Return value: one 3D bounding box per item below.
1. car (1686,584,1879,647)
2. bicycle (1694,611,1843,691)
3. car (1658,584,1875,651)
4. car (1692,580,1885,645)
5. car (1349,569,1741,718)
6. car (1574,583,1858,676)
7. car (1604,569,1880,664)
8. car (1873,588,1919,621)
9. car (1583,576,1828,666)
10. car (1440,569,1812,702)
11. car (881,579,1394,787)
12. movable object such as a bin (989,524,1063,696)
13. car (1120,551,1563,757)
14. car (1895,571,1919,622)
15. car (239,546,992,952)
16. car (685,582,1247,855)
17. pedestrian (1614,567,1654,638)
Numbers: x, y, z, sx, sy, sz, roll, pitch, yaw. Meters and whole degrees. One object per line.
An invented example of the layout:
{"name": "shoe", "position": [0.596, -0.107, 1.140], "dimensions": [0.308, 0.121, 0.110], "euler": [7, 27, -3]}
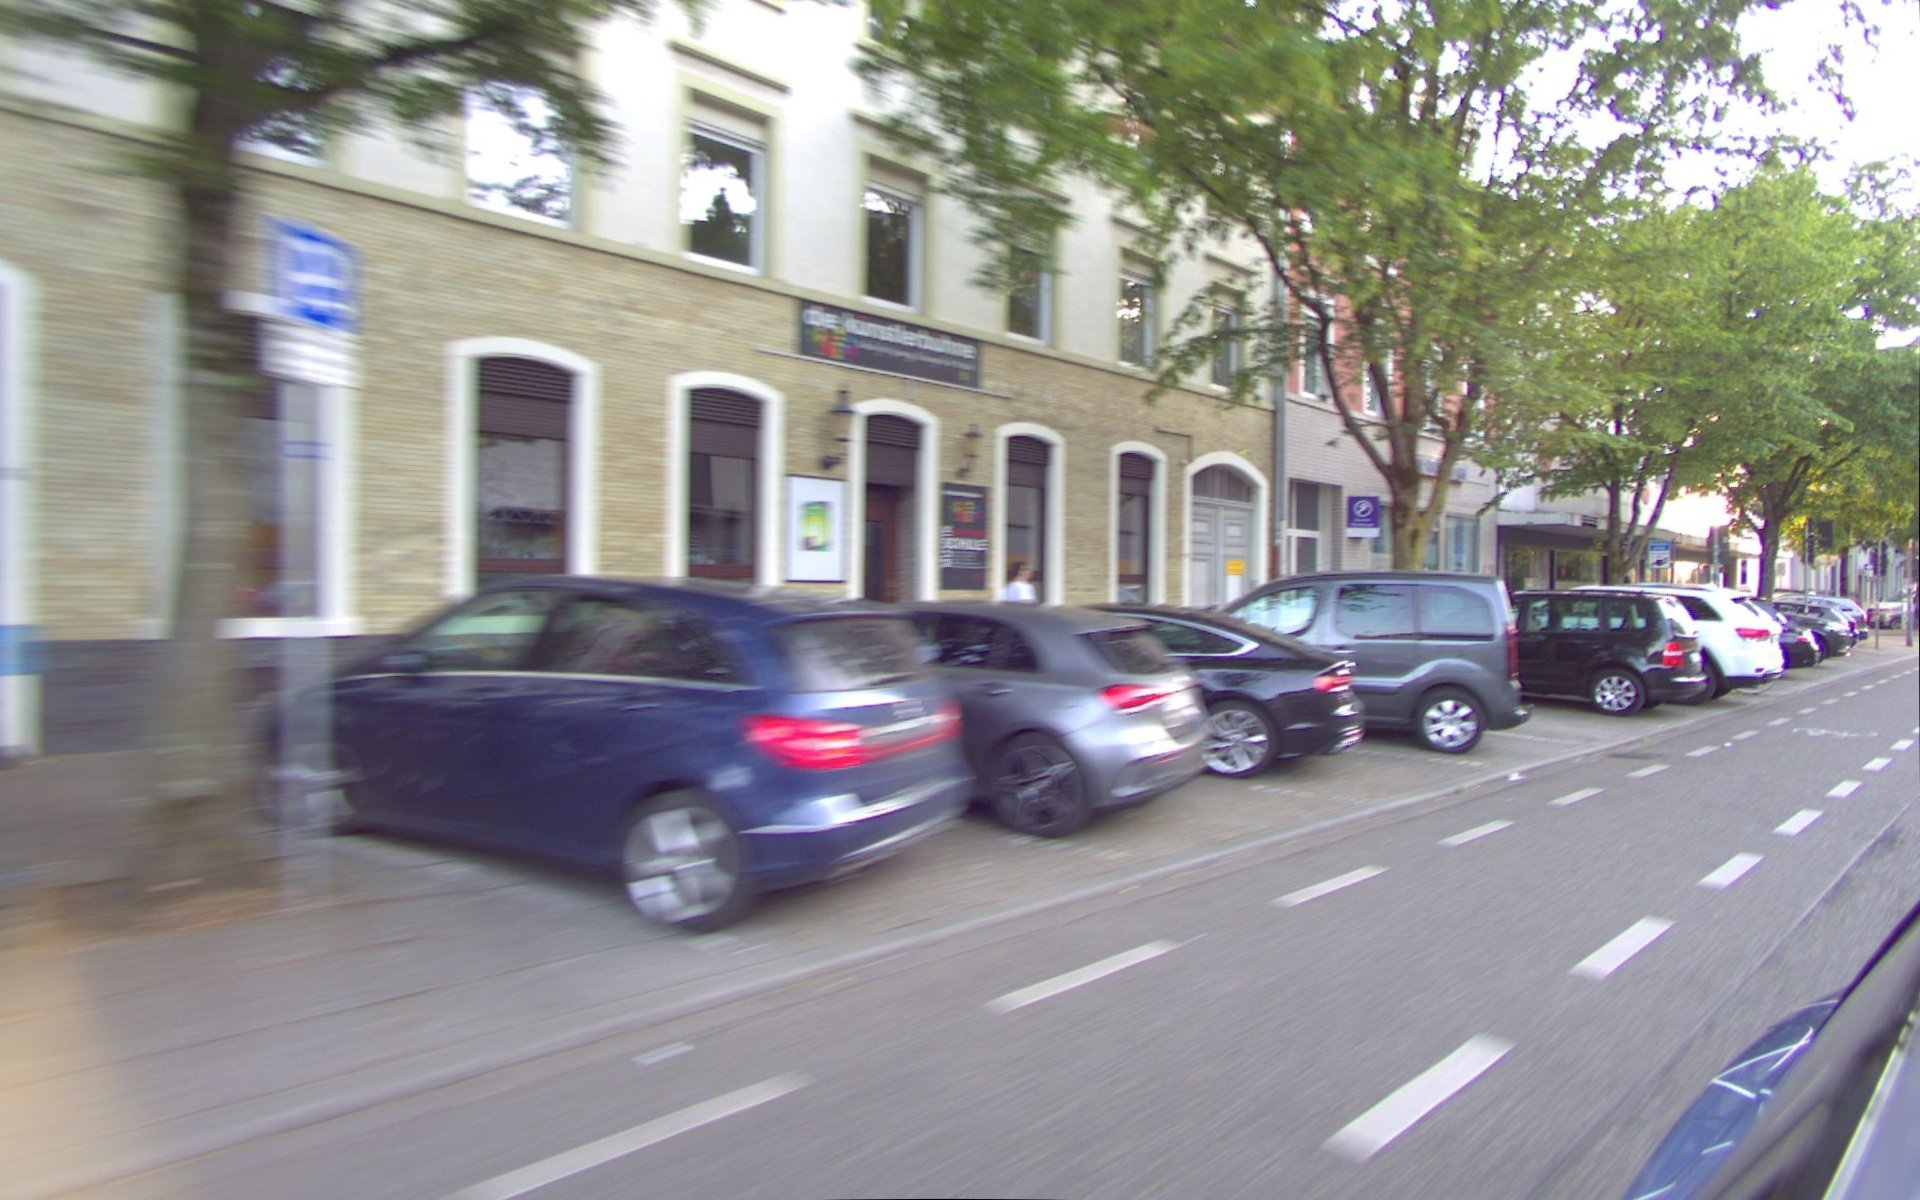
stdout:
{"name": "car", "position": [23.749, 0.411, 29.390], "dimensions": [3.845, 1.520, 1.803], "euler": [3, 2, 19]}
{"name": "bicycle", "position": [13.318, 0.816, 16.741], "dimensions": [1.831, 1.116, 0.491], "euler": [5, 2, 36]}
{"name": "car", "position": [21.764, 0.429, 27.544], "dimensions": [4.120, 1.483, 1.957], "euler": [4, 3, 22]}
{"name": "car", "position": [25.542, 0.343, 31.376], "dimensions": [4.109, 1.684, 1.834], "euler": [3, 2, 15]}
{"name": "car", "position": [8.492, 0.497, 15.011], "dimensions": [4.652, 1.708, 1.976], "euler": [4, 3, 45]}
{"name": "car", "position": [15.226, 0.528, 20.709], "dimensions": [4.178, 1.444, 1.962], "euler": [5, 3, 22]}
{"name": "car", "position": [18.627, 0.307, 24.506], "dimensions": [4.943, 1.849, 2.183], "euler": [4, 3, 32]}
{"name": "car", "position": [48.630, 0.306, 50.183], "dimensions": [4.558, 1.532, 1.847], "euler": [3, 1, 24]}
{"name": "car", "position": [16.630, 0.394, 22.906], "dimensions": [4.194, 1.669, 1.954], "euler": [4, 3, 32]}
{"name": "car", "position": [10.655, 0.444, 16.497], "dimensions": [1.973, 1.708, 4.658], "euler": [1, 3, -41]}
{"name": "car", "position": [1.596, 0.608, 9.376], "dimensions": [4.270, 1.406, 1.795], "euler": [3, 2, 20]}
{"name": "movable object such as a bin", "position": [0.816, 0.111, 12.474], "dimensions": [0.683, 2.039, 0.614], "euler": [0, 0, -42]}
{"name": "car", "position": [4.023, 0.448, 11.126], "dimensions": [4.112, 1.829, 1.994], "euler": [2, 2, 22]}
{"name": "car", "position": [53.874, -0.158, 53.921], "dimensions": [5.559, 2.728, 2.161], "euler": [1, 0, 15]}
{"name": "car", "position": [-1.967, 0.544, 5.694], "dimensions": [3.932, 1.572, 1.692], "euler": [3, 2, 25]}
{"name": "car", "position": [0.003, 0.645, 7.394], "dimensions": [3.750, 1.425, 1.690], "euler": [3, 2, 28]}
{"name": "pedestrian", "position": [19.609, 0.077, 29.439], "dimensions": [0.772, 2.009, 0.693], "euler": [1, 2, -41]}
